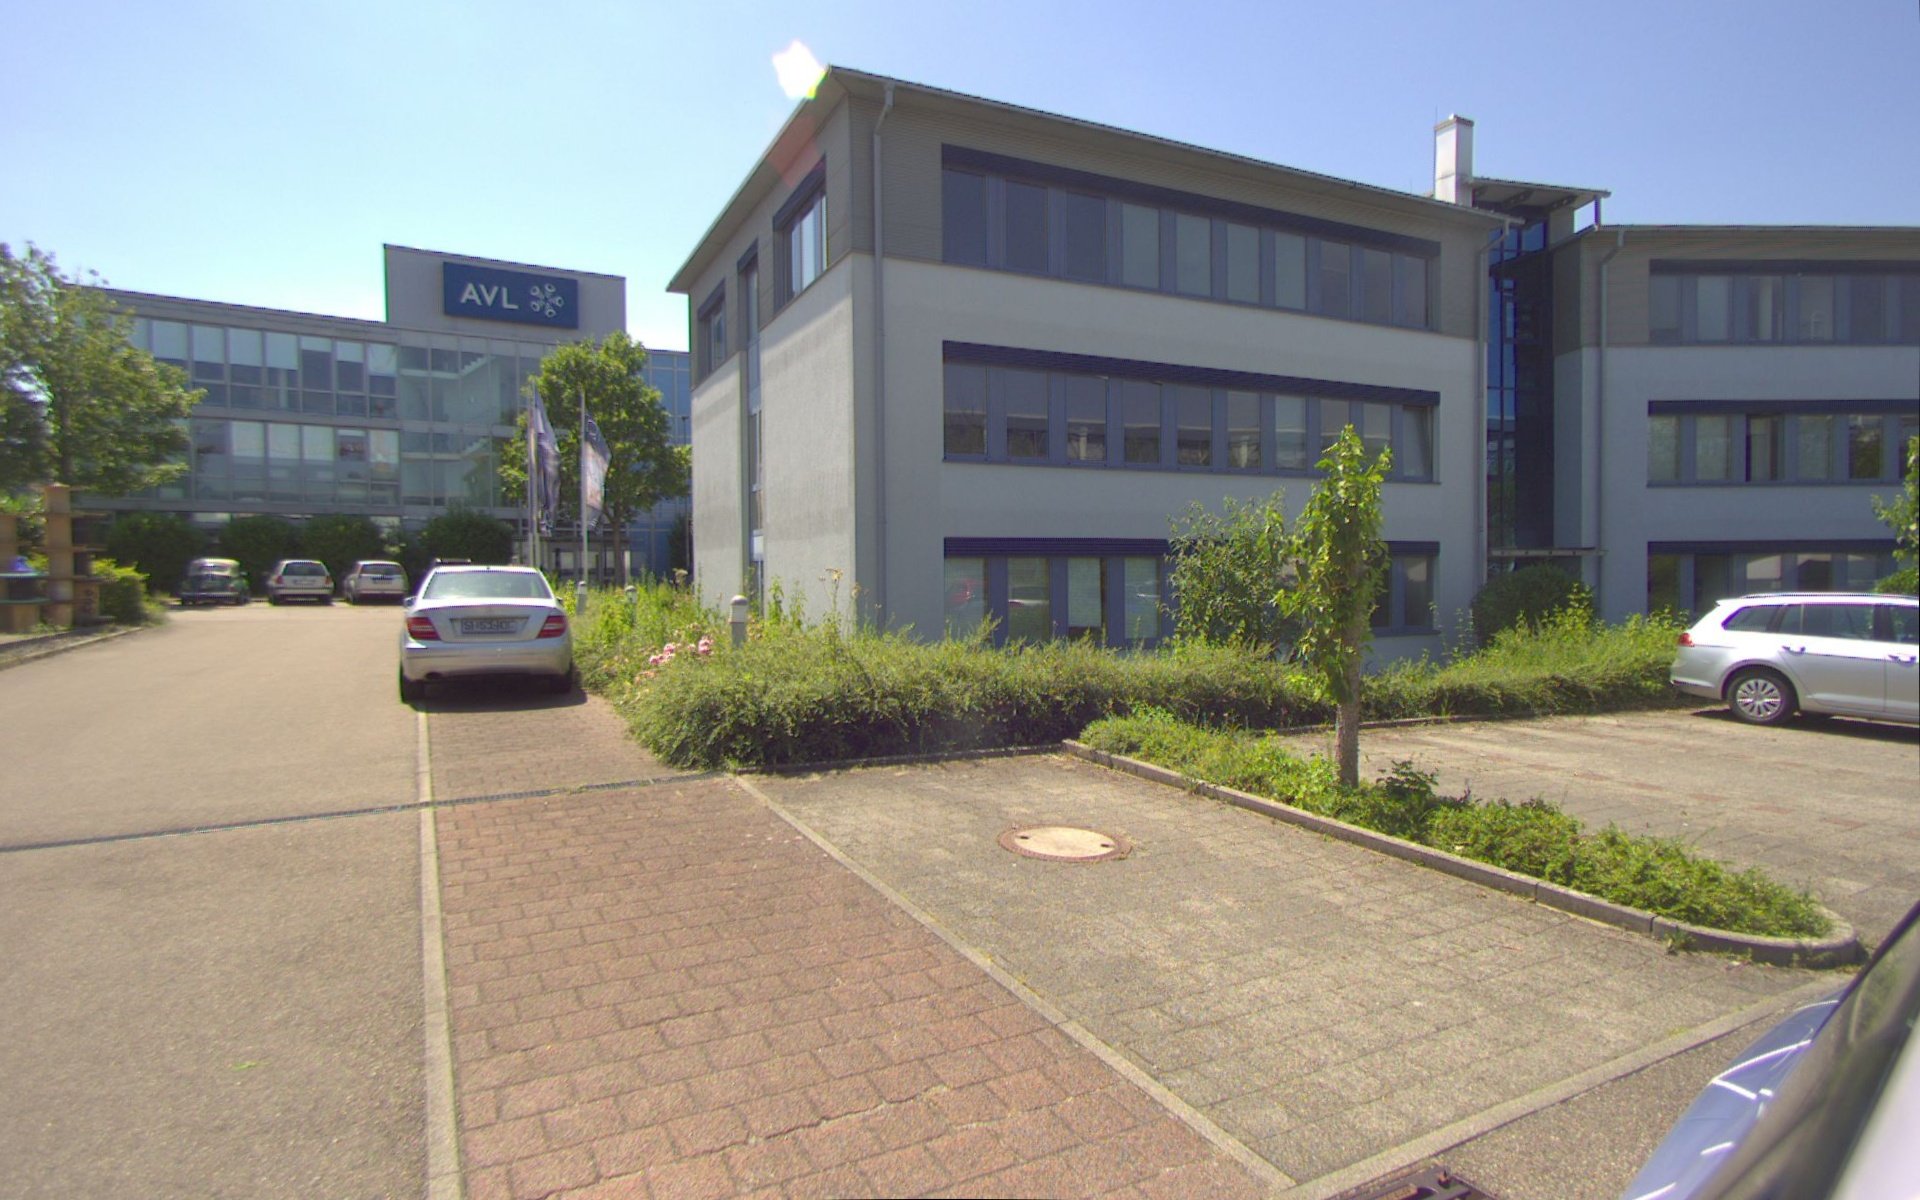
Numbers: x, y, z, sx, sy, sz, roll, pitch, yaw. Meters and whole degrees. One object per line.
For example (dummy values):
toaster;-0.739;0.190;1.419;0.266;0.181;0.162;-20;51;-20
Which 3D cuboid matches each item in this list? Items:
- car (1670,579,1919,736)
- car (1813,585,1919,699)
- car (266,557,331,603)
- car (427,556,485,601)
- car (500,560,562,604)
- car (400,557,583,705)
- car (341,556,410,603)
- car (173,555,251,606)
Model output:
car;10.286;0.583;10.423;1.793;1.515;4.526;0;2;-30
car;13.179;0.566;12.404;1.619;1.409;3.832;0;2;-30
car;-22.271;-0.660;34.012;1.643;1.458;3.999;0;1;-36
car;-18.236;-0.768;36.525;1.714;1.538;4.005;0;1;-29
car;-15.982;-0.660;37.643;1.714;1.538;4.005;0;1;-29
car;-5.617;0.273;11.978;1.695;1.454;3.722;0;1;-28
car;-20.633;-0.706;35.641;1.717;1.538;3.999;0;1;-36
car;-24.114;-0.622;32.737;1.715;1.538;4.003;0;1;-32
